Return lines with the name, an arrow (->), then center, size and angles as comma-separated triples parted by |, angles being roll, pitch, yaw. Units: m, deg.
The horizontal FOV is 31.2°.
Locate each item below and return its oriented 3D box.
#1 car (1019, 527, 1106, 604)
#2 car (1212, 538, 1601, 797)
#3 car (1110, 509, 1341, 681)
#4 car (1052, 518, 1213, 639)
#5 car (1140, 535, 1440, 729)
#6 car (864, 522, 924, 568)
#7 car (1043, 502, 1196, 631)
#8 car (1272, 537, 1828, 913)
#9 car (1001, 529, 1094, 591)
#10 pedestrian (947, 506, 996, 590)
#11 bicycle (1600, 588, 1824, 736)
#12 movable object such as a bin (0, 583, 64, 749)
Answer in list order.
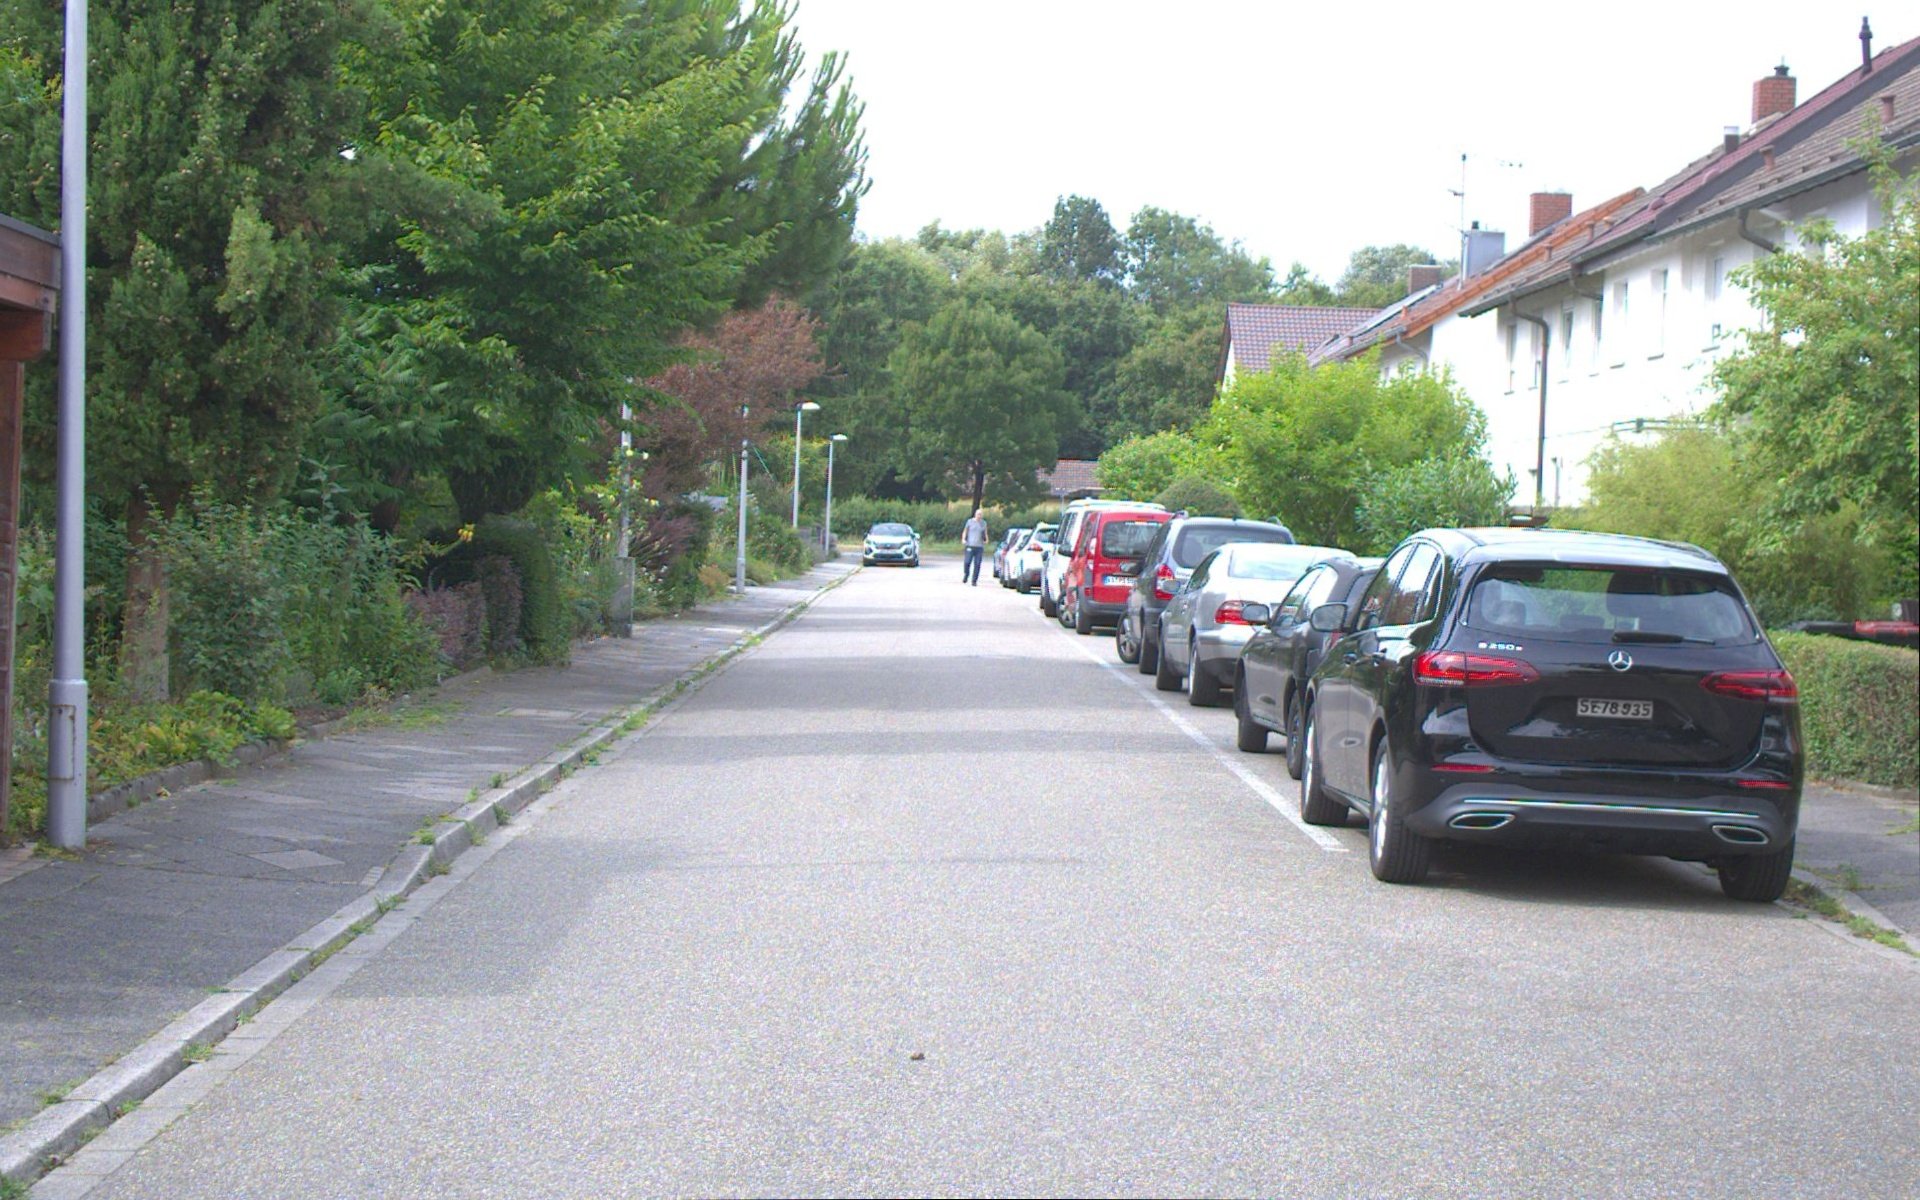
car -> 2.216, -0.782, 75.179 | 1.714, 1.538, 3.974 | 3, 1, 0
car -> 2.753, 0.357, 22.090 | 1.732, 1.423, 4.126 | 2, 1, -3
car -> 2.740, -0.100, 36.391 | 1.867, 1.648, 4.465 | 2, 1, -2
car -> 2.487, -0.353, 50.561 | 1.810, 1.645, 4.411 | 1, 1, -4
car -> 2.773, 0.214, 29.956 | 1.867, 1.402, 4.768 | 4, 1, -3
car -> -2.288, -1.940, 120.019 | 1.934, 1.551, 4.634 | 1, 1, 0
car -> 2.527, -0.574, 55.558 | 2.020, 1.940, 4.748 | 1, 1, -2
car -> 2.632, 0.472, 16.432 | 1.749, 1.462, 4.648 | 2, 1, -1
car -> 2.072, -0.985, 82.763 | 1.838, 1.408, 4.638 | 1, 1, -3
pedestrian -> 0.274, -1.261, 83.097 | 0.912, 2.007, 0.951 | 1, 1, -15
bicycle -> 5.519, 0.451, 25.272 | 1.538, 1.019, 0.376 | 2, 1, 5
movable object such as a bin -> -5.835, 0.382, 20.614 | 0.712, 0.953, 0.751 | 2, 1, -1
